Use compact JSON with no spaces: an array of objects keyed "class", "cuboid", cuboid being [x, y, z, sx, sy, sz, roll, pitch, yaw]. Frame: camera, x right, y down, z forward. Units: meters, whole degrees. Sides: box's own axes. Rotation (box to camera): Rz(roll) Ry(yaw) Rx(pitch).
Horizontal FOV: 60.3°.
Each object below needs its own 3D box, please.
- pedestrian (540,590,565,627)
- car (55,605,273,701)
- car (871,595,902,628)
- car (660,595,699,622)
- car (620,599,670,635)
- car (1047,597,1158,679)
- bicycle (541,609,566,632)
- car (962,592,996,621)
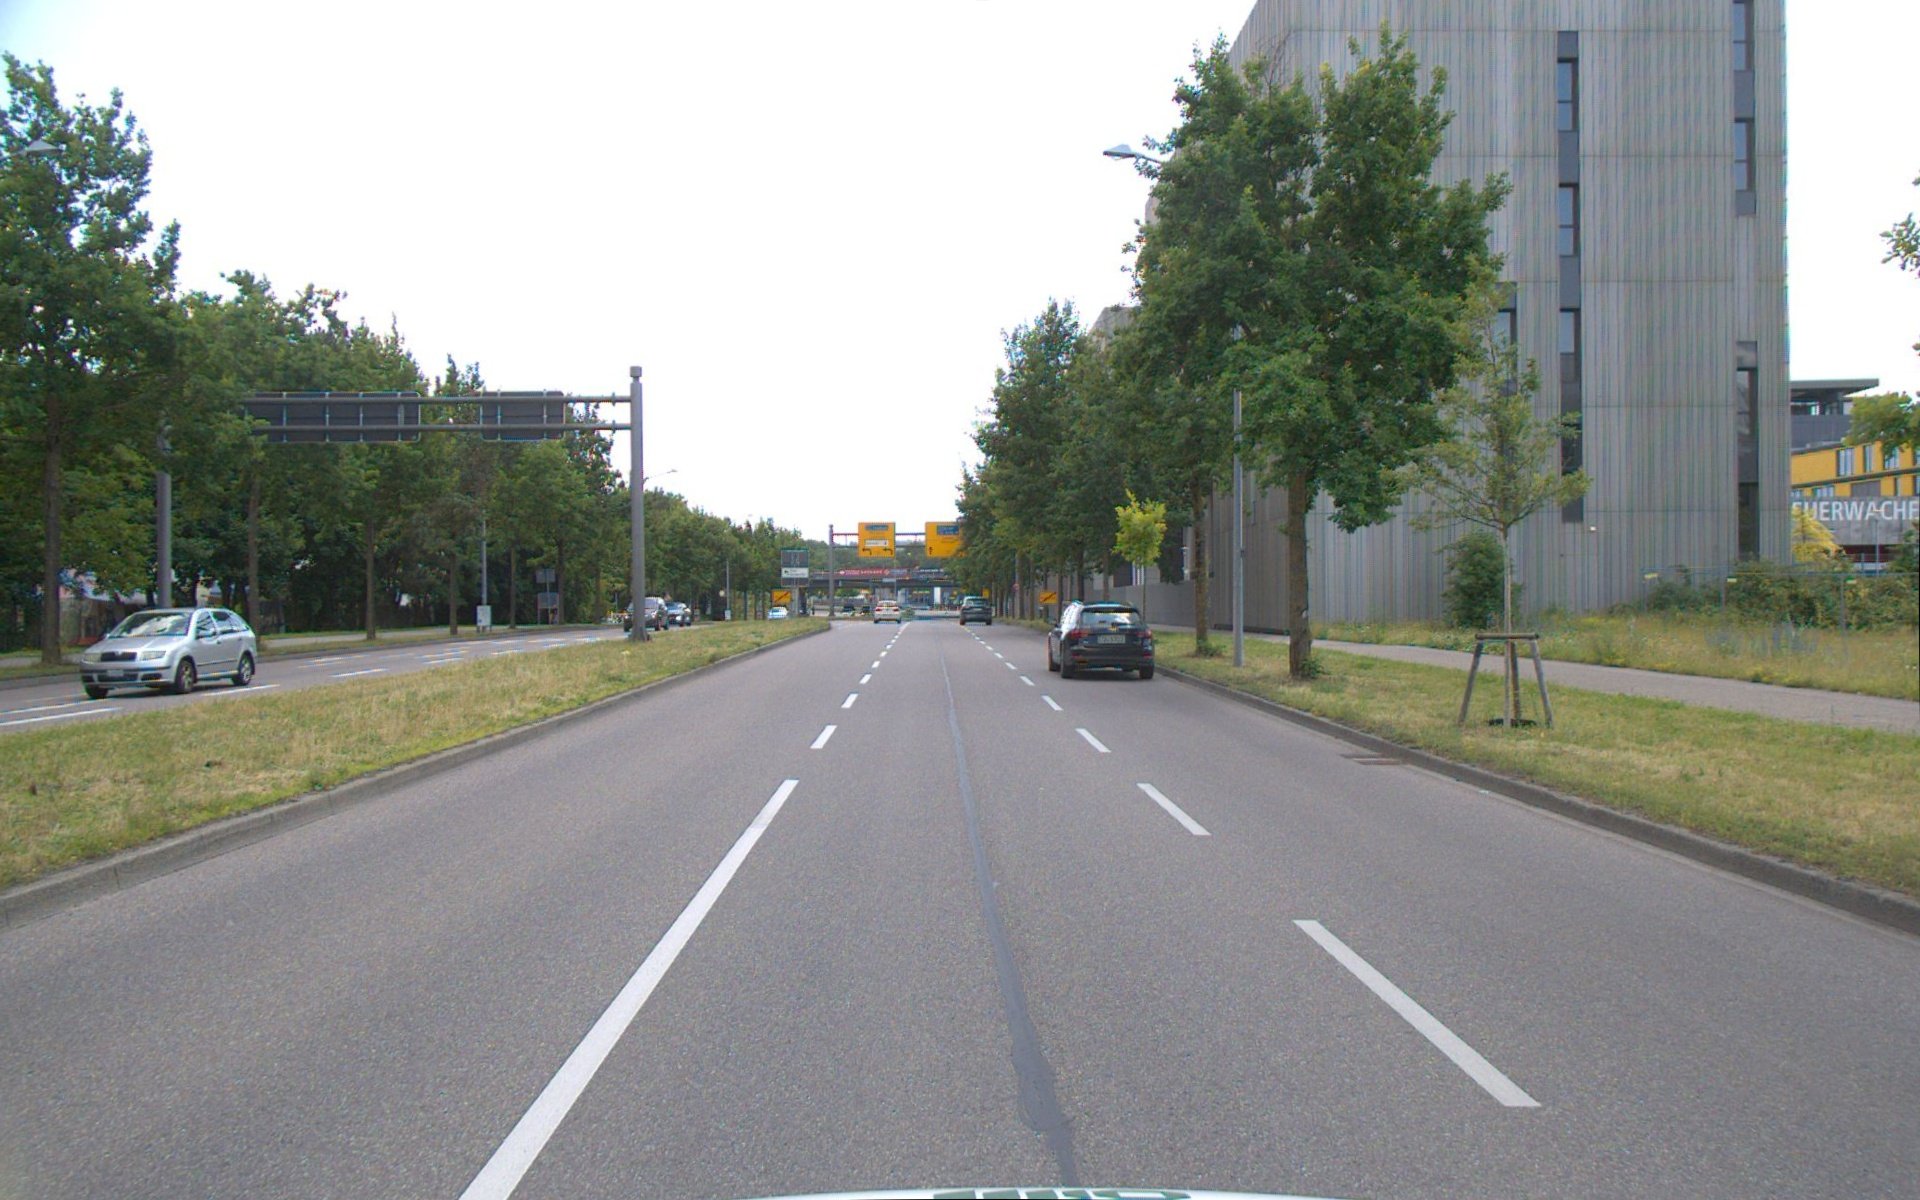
[{"class":"pedestrian","cuboid":[-23.152,0.485,94.070,0.950,2.048,1.249,-5,0,0]},{"class":"car","cuboid":[-13.666,0.862,28.692,1.727,1.465,4.308,-1,0,-1]},{"class":"car","cuboid":[-4.816,0.754,108.120,1.954,2.049,3.997,1,0,-4]},{"class":"car","cuboid":[-17.513,0.530,103.443,1.706,1.572,4.572,-2,0,-1]},{"class":"car","cuboid":[-15.067,0.801,79.264,1.706,1.596,4.274,-2,0,-2]},{"class":"car","cuboid":[2.728,0.710,32.414,1.650,1.489,3.998,1,0,-2]},{"class":"bicycle","cuboid":[-23.145,1.148,94.242,0.791,1.248,2.501,-1,0,-1]},{"class":"car","cuboid":[1.135,0.351,97.088,1.952,1.654,4.310,-1,0,1]}]
